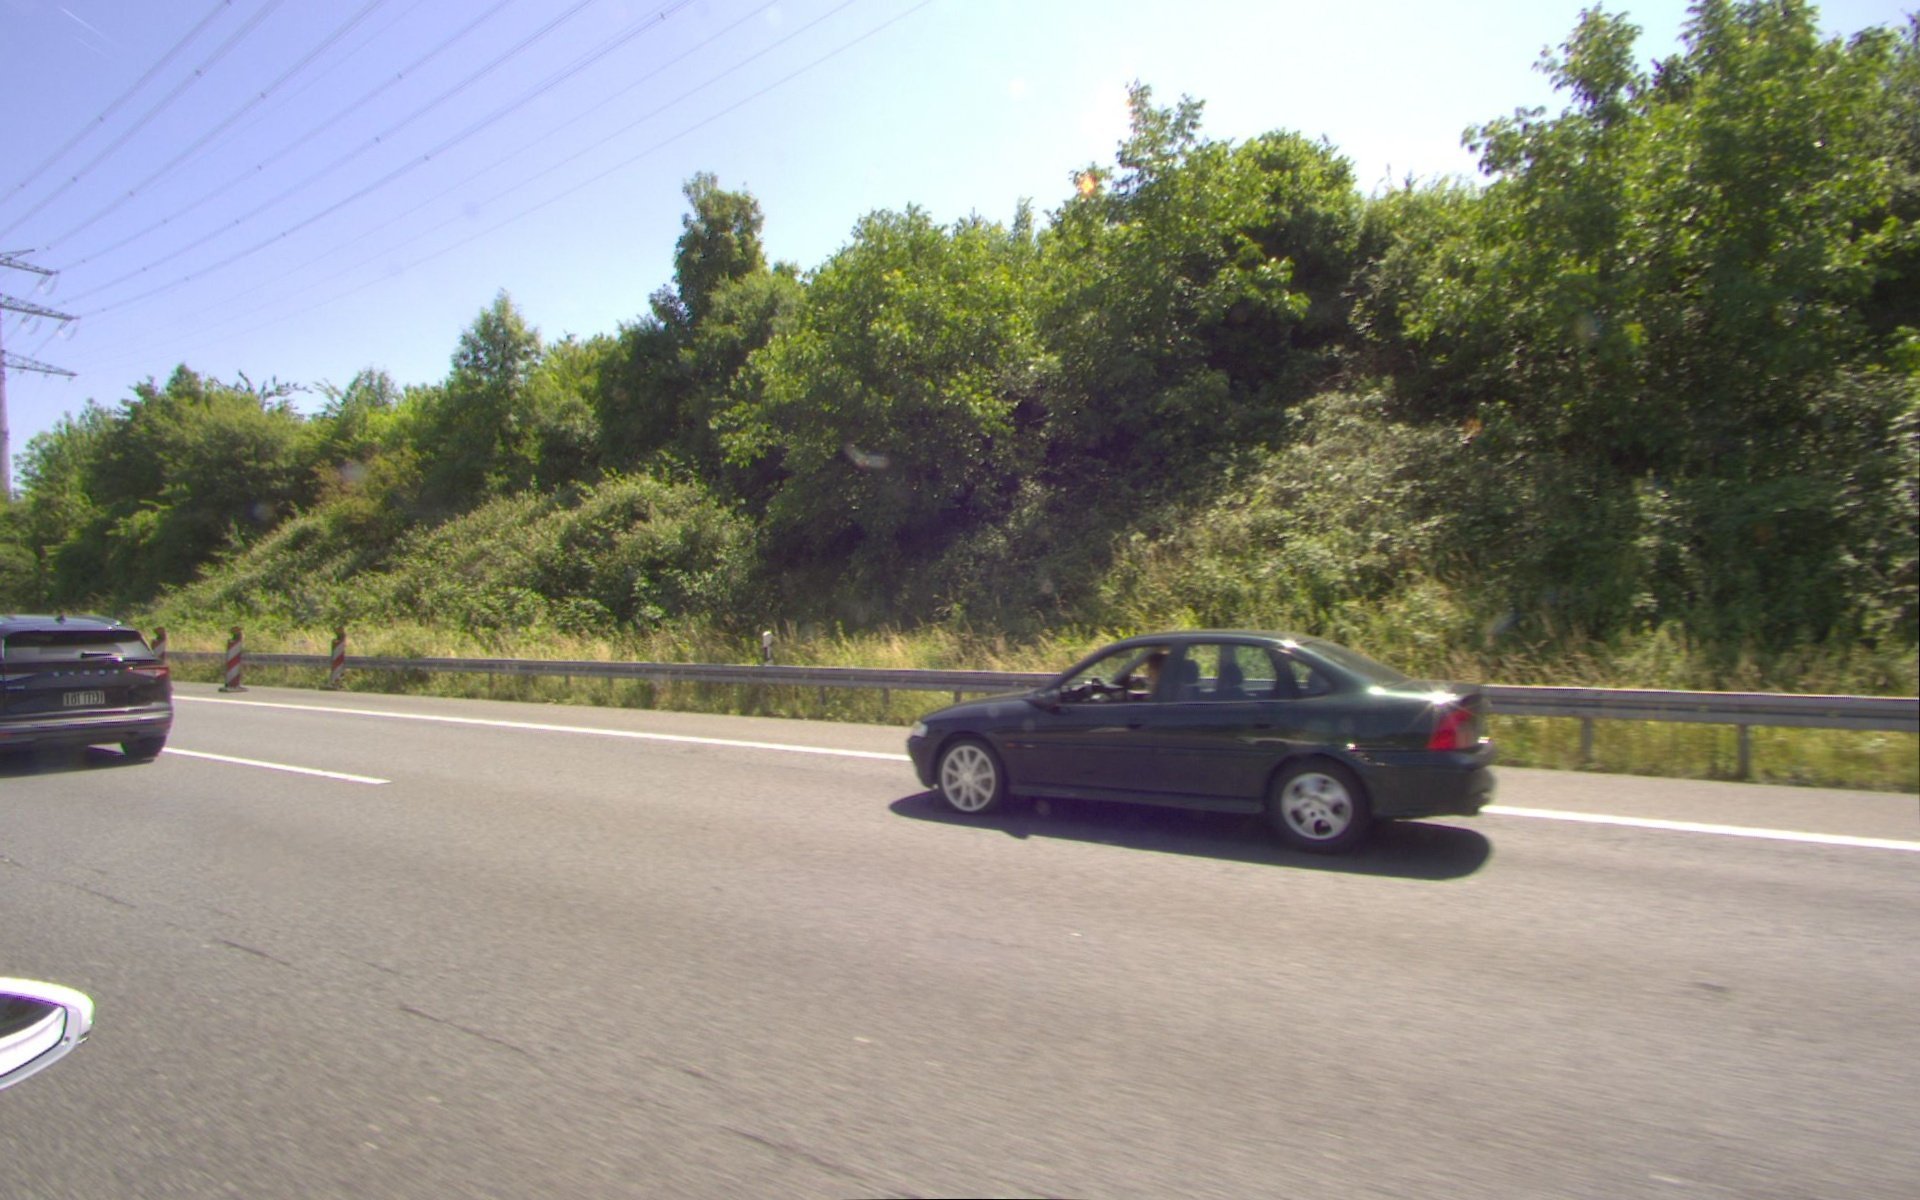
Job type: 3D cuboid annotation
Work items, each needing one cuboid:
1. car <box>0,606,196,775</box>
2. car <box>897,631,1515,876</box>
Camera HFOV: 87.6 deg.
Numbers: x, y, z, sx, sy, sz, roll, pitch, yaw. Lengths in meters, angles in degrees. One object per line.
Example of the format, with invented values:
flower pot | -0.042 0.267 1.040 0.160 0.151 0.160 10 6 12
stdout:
car | -10.777 0.919 11.466 4.367 1.635 1.825 -1 -1 32
car | 1.743 0.940 7.587 4.241 1.395 1.732 -1 -2 32
